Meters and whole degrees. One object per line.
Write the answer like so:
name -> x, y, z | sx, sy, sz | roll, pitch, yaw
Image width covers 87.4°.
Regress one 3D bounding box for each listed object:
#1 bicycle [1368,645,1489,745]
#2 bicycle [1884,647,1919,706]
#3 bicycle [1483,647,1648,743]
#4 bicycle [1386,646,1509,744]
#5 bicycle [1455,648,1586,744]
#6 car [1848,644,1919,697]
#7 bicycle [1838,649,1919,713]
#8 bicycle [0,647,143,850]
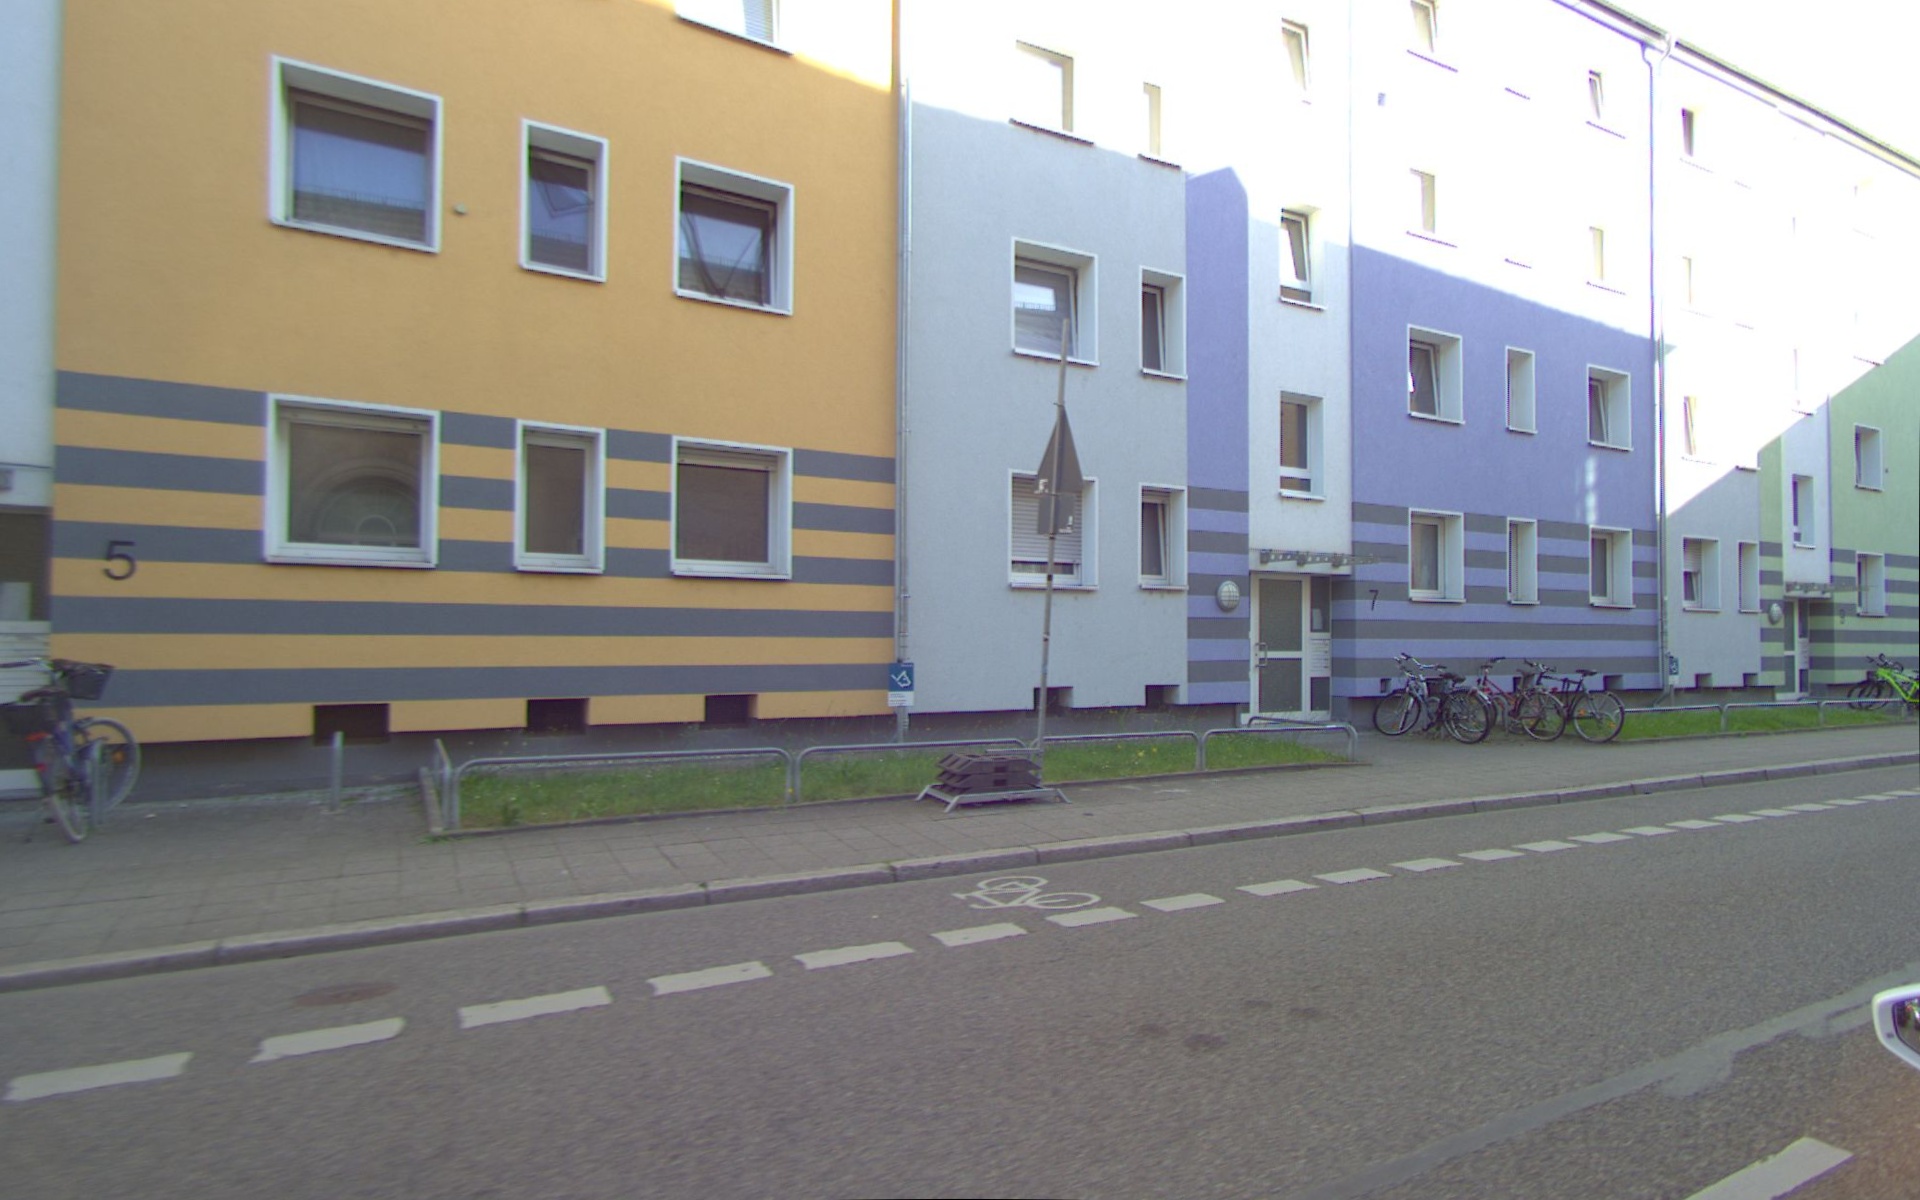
bicycle -> 6.386, 1.268, 13.758 | 0.380, 1.258, 1.572 | 1, -2, -30
bicycle -> 20.603, 1.646, 20.893 | 0.608, 1.195, 1.915 | 2, 1, -36
bicycle -> 8.675, 1.316, 14.478 | 0.615, 1.247, 1.999 | 1, -2, -30
bicycle -> 6.742, 1.281, 13.967 | 0.444, 1.258, 1.577 | 1, -2, -30
bicycle -> 7.953, 1.328, 14.322 | 0.461, 1.258, 1.631 | 1, -2, -30
car -> 27.877, 2.007, 28.598 | 1.789, 1.462, 3.490 | 1, -2, -26
bicycle -> 19.203, 1.656, 20.441 | 0.609, 1.195, 1.910 | 2, 1, -43
bicycle -> -5.975, 0.910, 6.764 | 0.645, 1.160, 1.739 | 2, -2, -37
